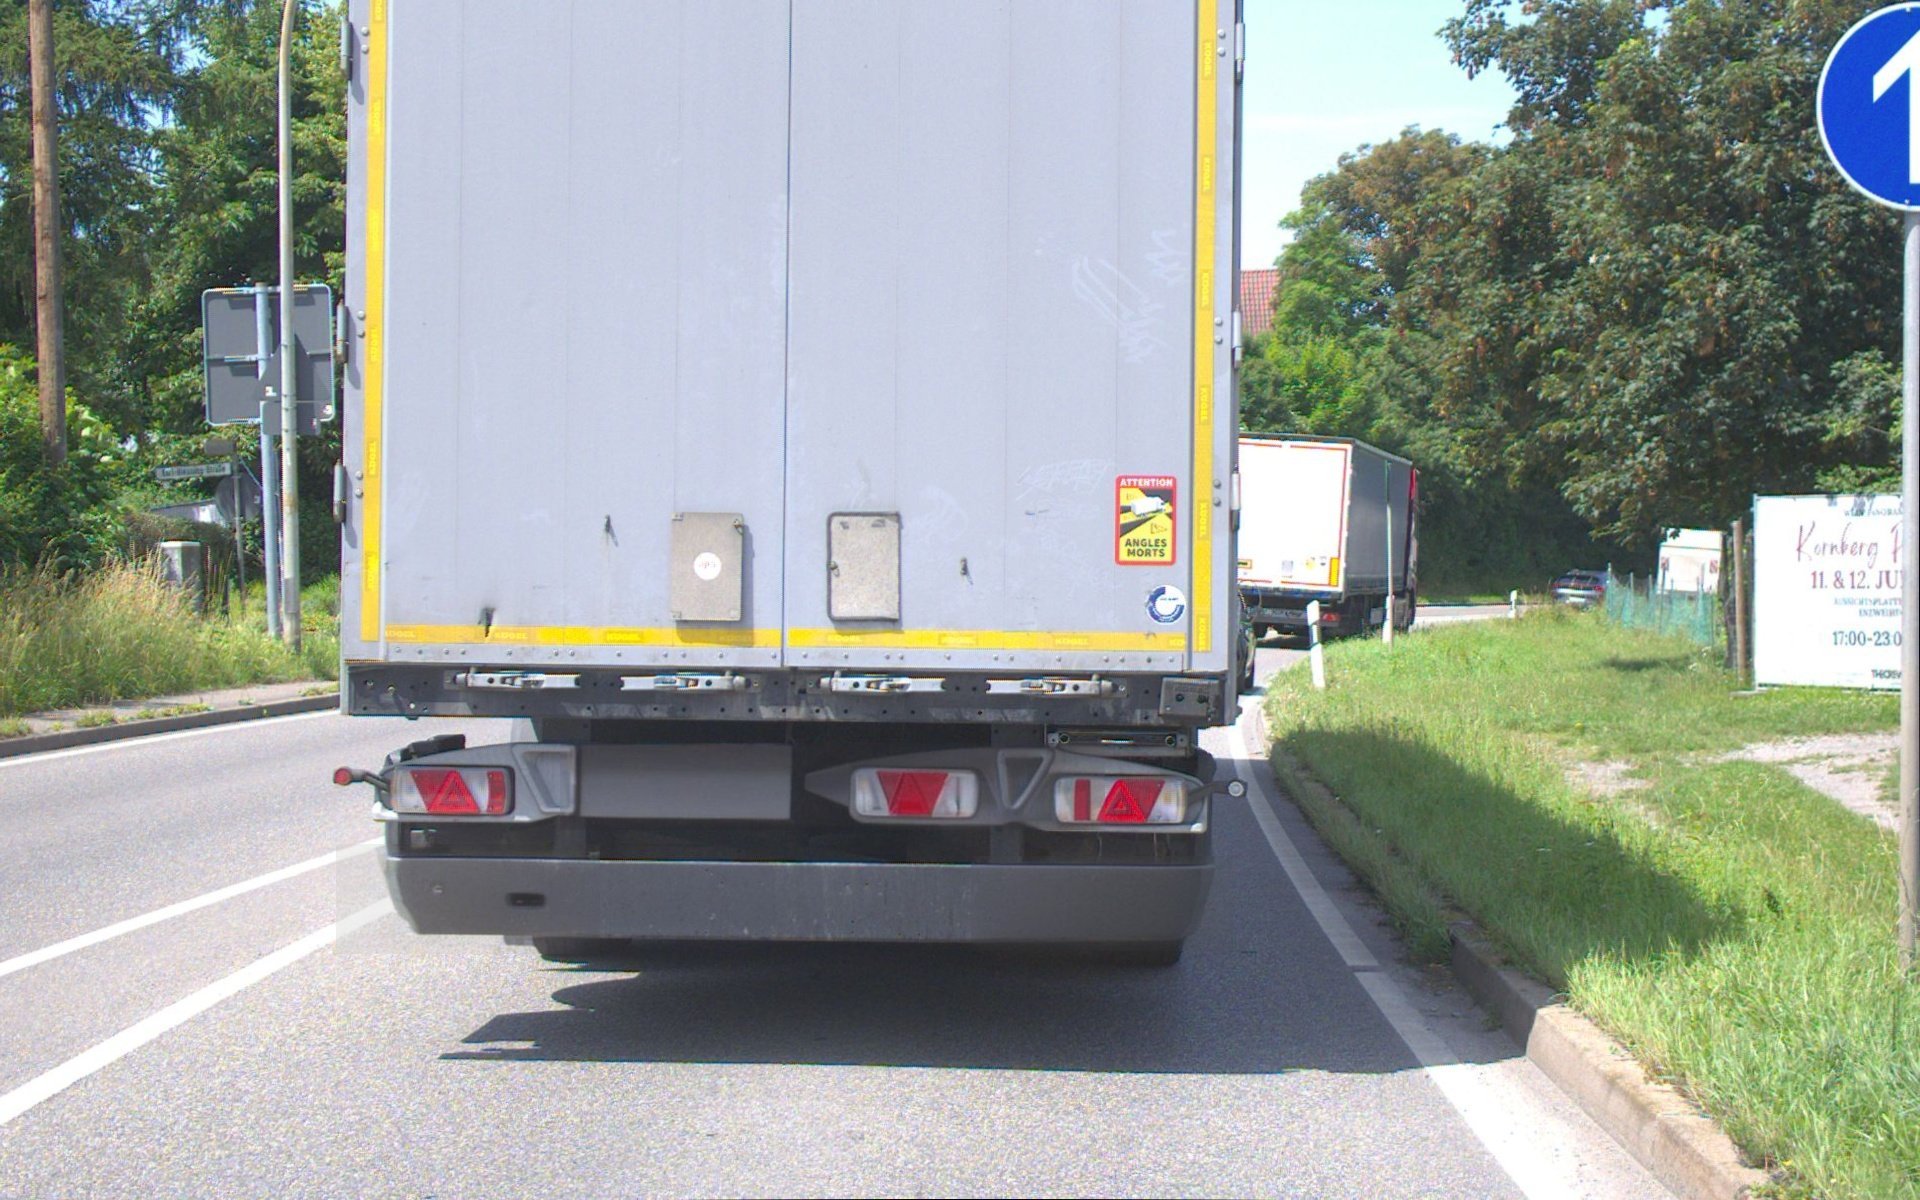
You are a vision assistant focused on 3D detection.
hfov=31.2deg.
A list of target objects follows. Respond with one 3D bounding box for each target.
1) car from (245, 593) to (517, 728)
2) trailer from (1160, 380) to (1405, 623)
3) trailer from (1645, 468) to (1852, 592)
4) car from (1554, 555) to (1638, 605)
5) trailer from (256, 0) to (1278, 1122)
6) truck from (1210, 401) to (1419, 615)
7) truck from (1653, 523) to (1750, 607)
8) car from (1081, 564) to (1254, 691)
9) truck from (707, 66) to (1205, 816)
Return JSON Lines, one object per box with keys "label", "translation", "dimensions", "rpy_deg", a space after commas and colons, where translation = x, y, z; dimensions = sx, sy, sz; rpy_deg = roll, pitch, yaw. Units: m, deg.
{"label": "car", "translation": [-9.152, 0.921, 54.201], "dimensions": [4.067, 2.007, 2.001], "rpy_deg": [0, 1, -15]}
{"label": "trailer", "translation": [6.836, -1.998, 70.581], "dimensions": [3.893, 4.505, 12.708], "rpy_deg": [0, 1, 10]}
{"label": "trailer", "translation": [31.376, -2.795, 135.949], "dimensions": [5.186, 4.612, 15.876], "rpy_deg": [1, 2, 23]}
{"label": "car", "translation": [19.976, -0.646, 107.927], "dimensions": [1.843, 1.481, 3.996], "rpy_deg": [1, 1, 21]}
{"label": "trailer", "translation": [-0.215, -0.840, 15.433], "dimensions": [2.787, 4.191, 12.110], "rpy_deg": [1, 1, 3]}
{"label": "truck", "translation": [8.043, -2.023, 77.119], "dimensions": [3.939, 4.559, 7.148], "rpy_deg": [0, 1, 12]}
{"label": "truck", "translation": [25.869, -1.245, 119.776], "dimensions": [2.423, 2.828, 5.406], "rpy_deg": [1, 1, 22]}
{"label": "car", "translation": [2.738, 0.324, 44.613], "dimensions": [1.994, 1.525, 3.999], "rpy_deg": [1, 1, 7]}
{"label": "truck", "translation": [0.160, -0.966, 22.201], "dimensions": [2.746, 4.151, 6.142], "rpy_deg": [1, 1, 4]}
